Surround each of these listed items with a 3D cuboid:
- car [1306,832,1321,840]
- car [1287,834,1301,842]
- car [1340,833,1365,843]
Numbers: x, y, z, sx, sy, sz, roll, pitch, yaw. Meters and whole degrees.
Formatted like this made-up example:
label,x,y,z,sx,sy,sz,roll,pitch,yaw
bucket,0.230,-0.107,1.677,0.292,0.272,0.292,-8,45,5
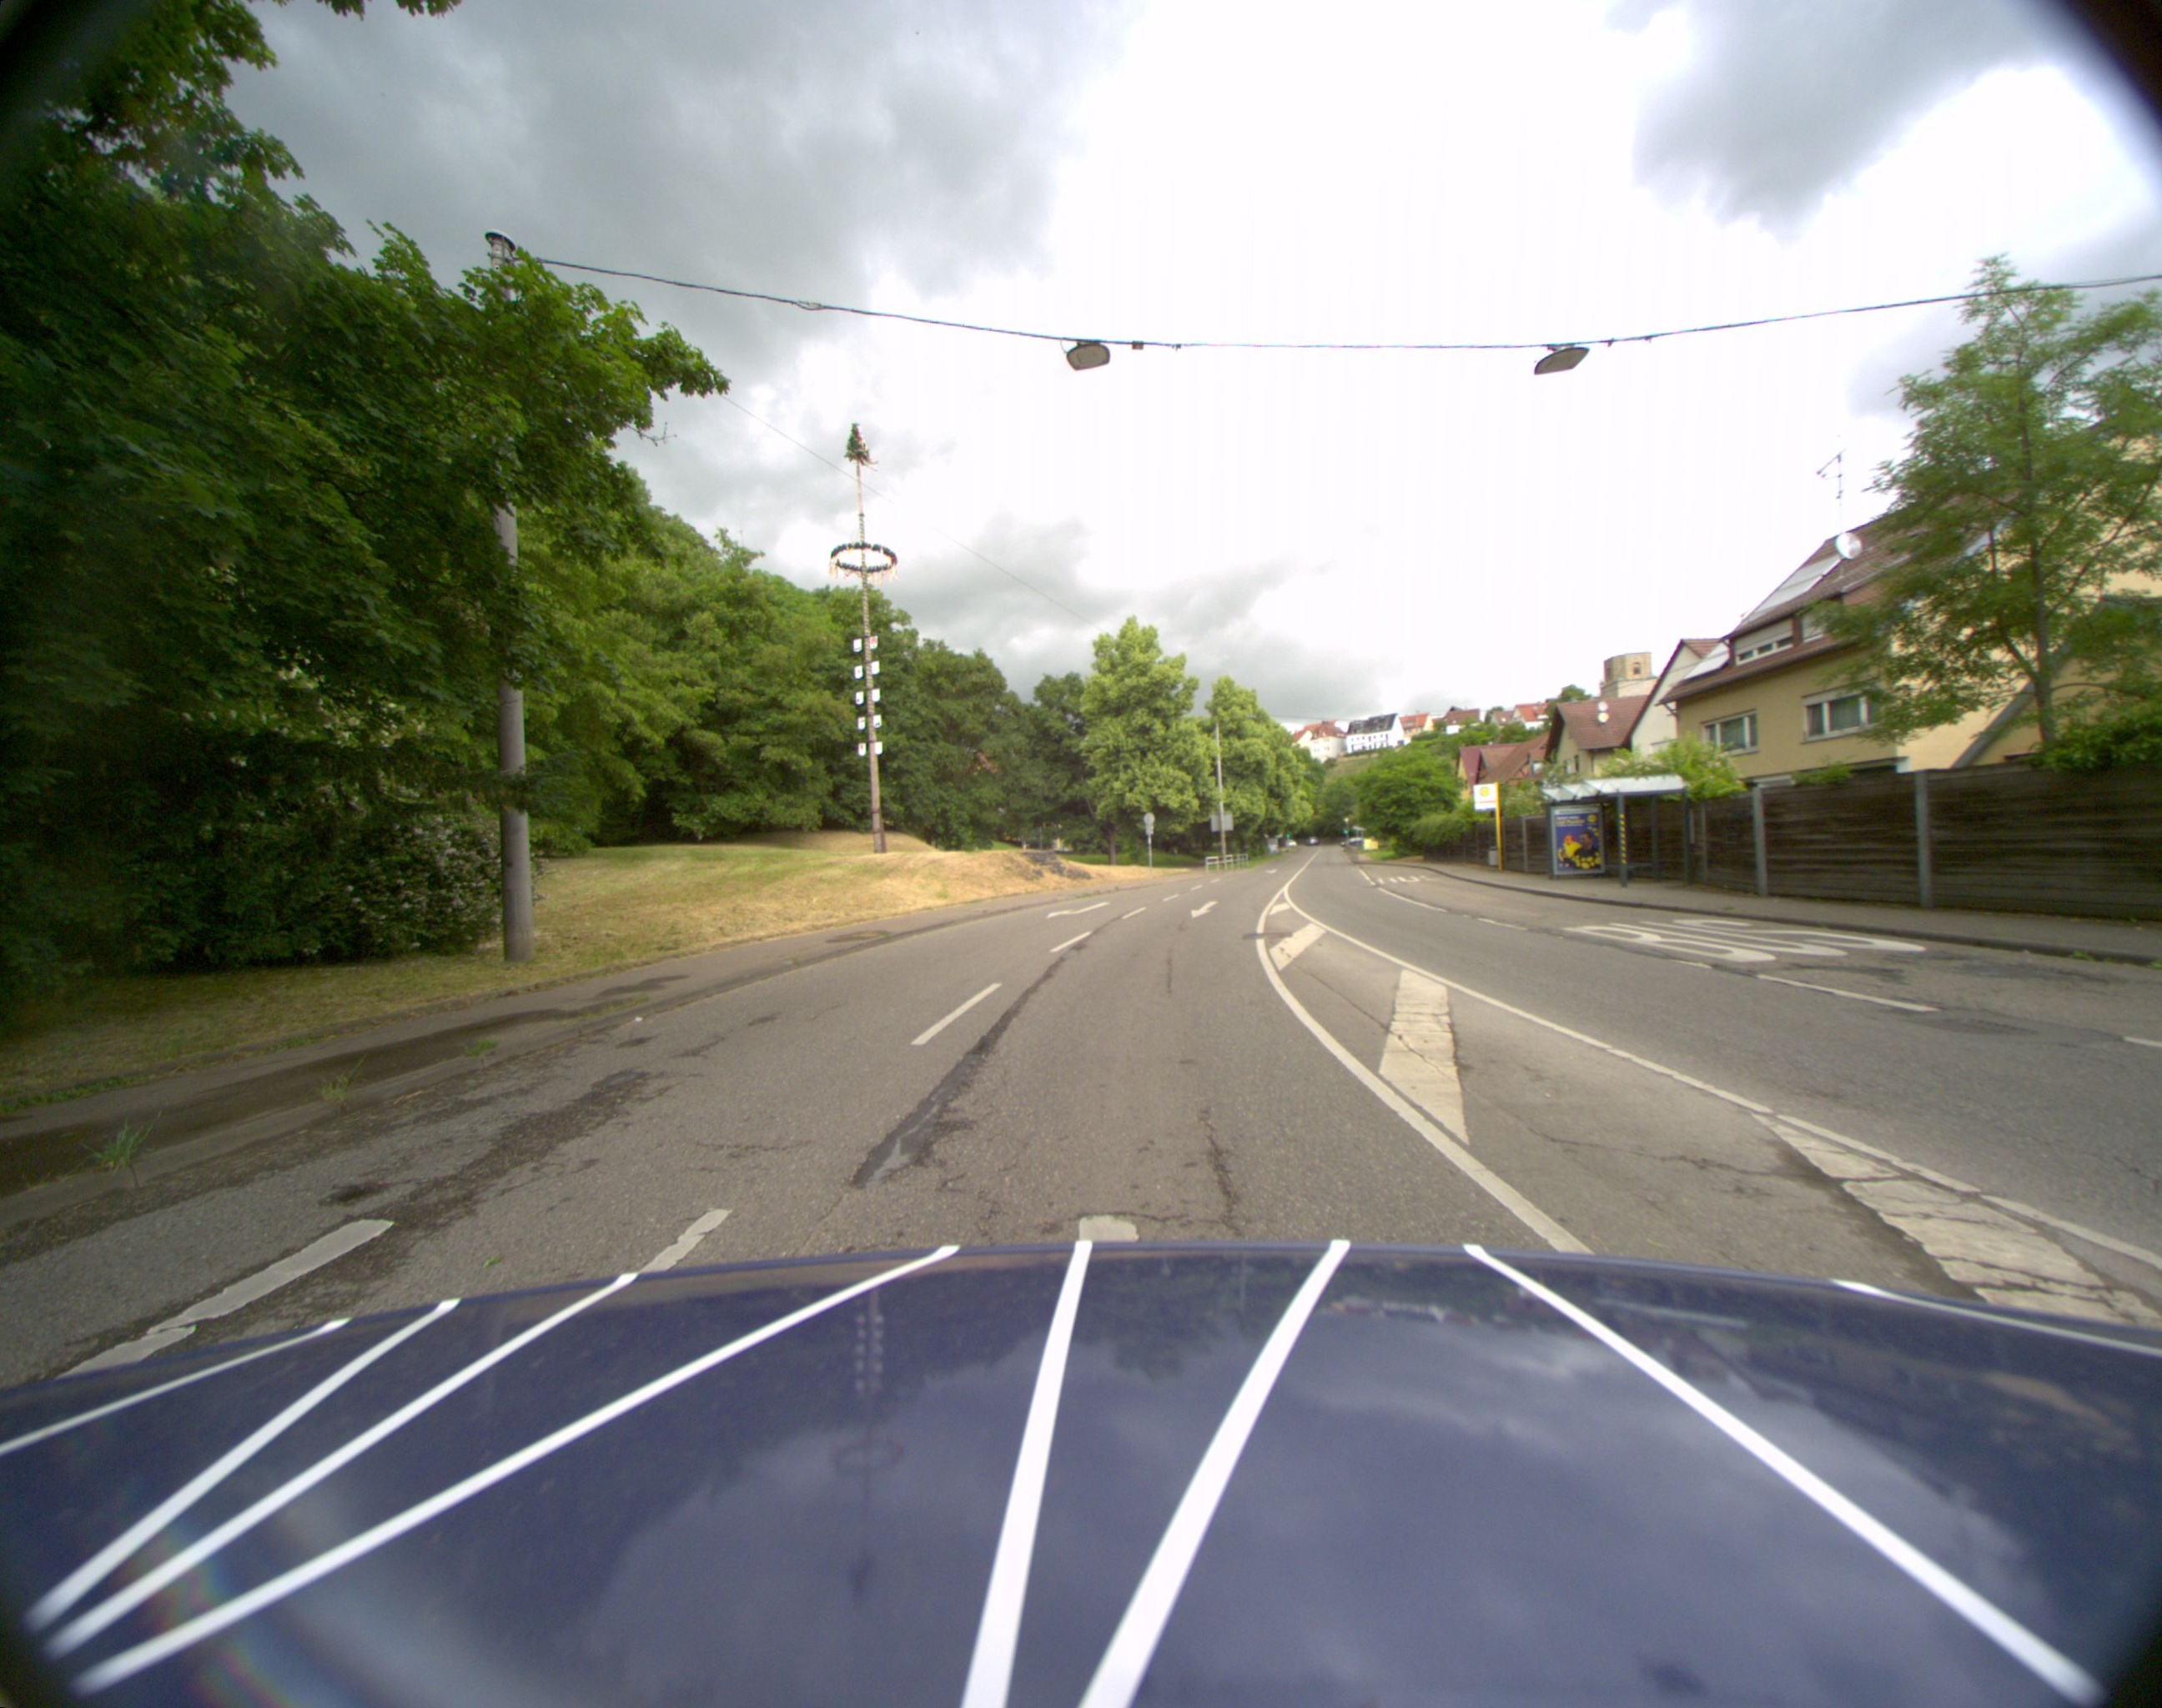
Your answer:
label,x,y,z,sx,sy,sz,roll,pitch,yaw
car,47.758,-3.715,156.219,1.998,1.608,4.000,-2,1,2
car,45.457,-3.425,162.096,1.764,1.516,3.682,-2,1,-1
car,44.659,-2.664,124.851,3.674,1.575,1.767,-2,1,24
